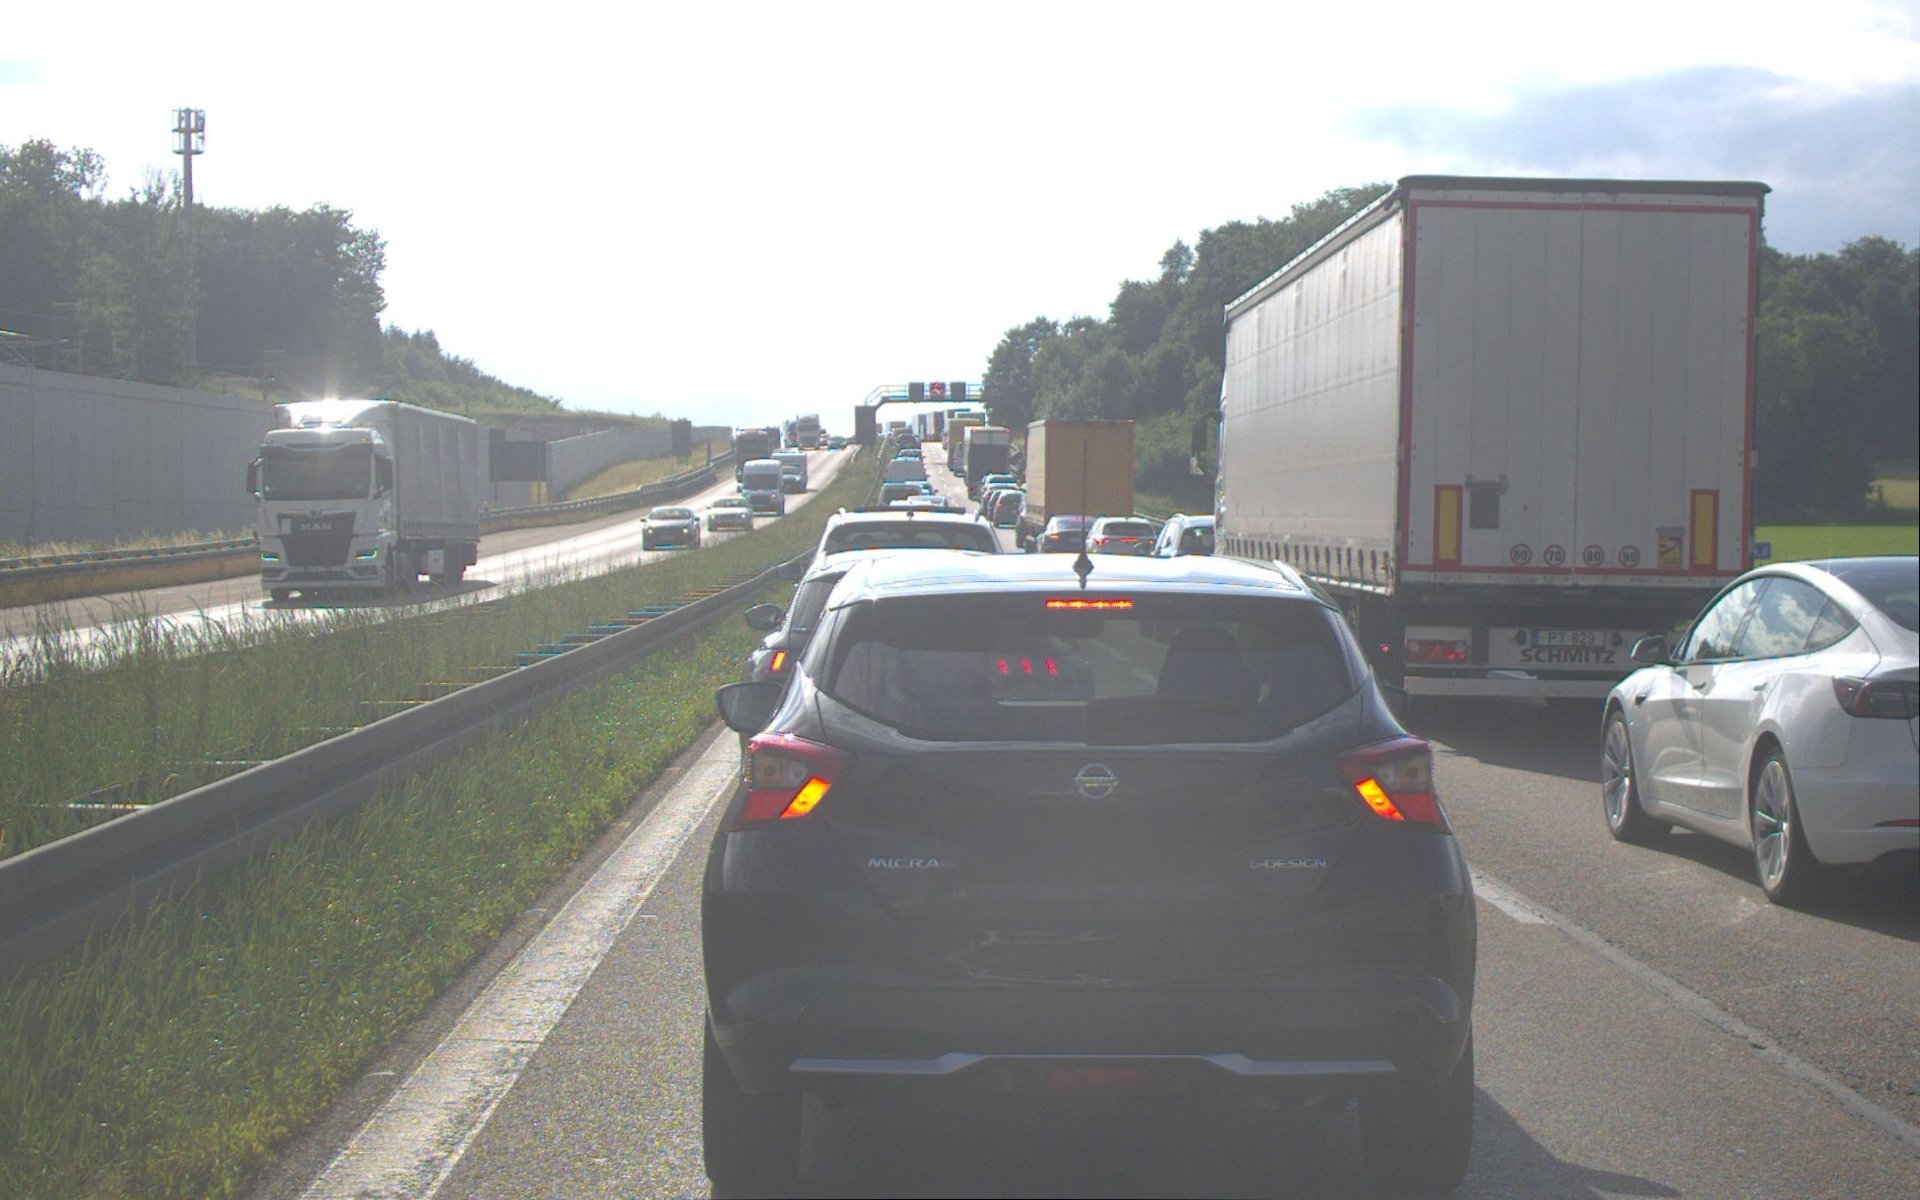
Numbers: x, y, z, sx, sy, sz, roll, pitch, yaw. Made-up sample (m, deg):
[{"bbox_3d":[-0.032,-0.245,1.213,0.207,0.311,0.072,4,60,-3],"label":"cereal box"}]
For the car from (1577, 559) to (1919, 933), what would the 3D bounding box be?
[{"bbox_3d":[4.120,0.535,15.411,1.788,1.389,4.437,0,1,-2],"label":"car"}]

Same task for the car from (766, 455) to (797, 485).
[{"bbox_3d":[-11.404,-8.333,219.791,1.910,1.665,4.364,0,5,-1],"label":"car"}]

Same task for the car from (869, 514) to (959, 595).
[{"bbox_3d":[-0.971,-0.992,73.026,1.873,1.638,4.233,0,2,-1],"label":"car"}]

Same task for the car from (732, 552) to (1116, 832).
[{"bbox_3d":[-0.197,0.418,18.886,1.873,1.353,4.232,0,1,-1],"label":"car"}]

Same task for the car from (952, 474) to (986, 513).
[{"bbox_3d":[0.519,-6.334,203.887,1.873,2.151,5.212,0,4,-1],"label":"car"}]

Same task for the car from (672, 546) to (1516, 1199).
[{"bbox_3d":[0.261,0.577,9.342,1.773,1.446,4.232,0,1,-1],"label":"car"}]

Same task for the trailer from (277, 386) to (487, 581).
[{"bbox_3d":[-13.168,-2.580,79.562,2.790,4.063,13.521,-2,1,-1],"label":"trailer"}]

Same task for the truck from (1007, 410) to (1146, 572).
[{"bbox_3d":[3.403,-3.173,104.204,3.296,4.562,12.442,1,0,-2],"label":"truck"}]

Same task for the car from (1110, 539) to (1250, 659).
[{"bbox_3d":[3.025,-0.047,48.047,1.697,1.605,4.437,0,1,0],"label":"car"}]

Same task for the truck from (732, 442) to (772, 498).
[{"bbox_3d":[-15.100,-9.435,250.073,2.582,3.909,5.723,-1,1,-1],"label":"truck"}]

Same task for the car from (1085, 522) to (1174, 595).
[{"bbox_3d":[3.987,-1.003,81.482,1.873,1.638,4.233,0,2,-1],"label":"car"}]

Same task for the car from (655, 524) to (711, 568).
[{"bbox_3d":[-9.393,-1.831,116.710,1.651,1.446,3.956,0,1,-1],"label":"car"}]

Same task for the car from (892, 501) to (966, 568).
[{"bbox_3d":[-0.813,-1.742,89.956,1.873,1.638,4.233,0,3,-1],"label":"car"}]

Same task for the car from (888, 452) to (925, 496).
[{"bbox_3d":[-2.750,-6.499,176.855,1.873,2.151,5.212,0,4,-1],"label":"car"}]

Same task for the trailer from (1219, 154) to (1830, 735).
[{"bbox_3d":[4.429,-1.093,30.576,3.130,3.997,13.367,1,0,0],"label":"trailer"}]

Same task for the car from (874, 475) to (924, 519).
[{"bbox_3d":[-2.376,-4.008,132.907,1.873,1.638,4.233,0,3,-2],"label":"car"}]

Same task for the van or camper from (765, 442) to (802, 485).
[{"bbox_3d":[-11.553,-8.937,225.579,2.252,2.694,7.171,0,1,-1],"label":"van or camper"}]

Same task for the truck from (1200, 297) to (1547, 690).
[{"bbox_3d":[4.434,-1.108,37.941,3.133,4.002,5.164,1,0,0],"label":"truck"}]

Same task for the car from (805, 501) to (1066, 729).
[{"bbox_3d":[-0.196,0.074,26.816,1.873,1.638,4.232,0,1,-1],"label":"car"}]

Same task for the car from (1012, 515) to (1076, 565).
[{"bbox_3d":[2.799,-2.026,115.124,1.873,1.638,4.233,0,2,-3],"label":"car"}]

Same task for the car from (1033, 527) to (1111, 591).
[{"bbox_3d":[2.942,-1.105,90.764,1.873,1.638,4.232,0,2,-1],"label":"car"}]

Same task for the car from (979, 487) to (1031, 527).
[{"bbox_3d":[1.910,-3.964,146.564,1.873,1.638,4.233,0,3,-4],"label":"car"}]

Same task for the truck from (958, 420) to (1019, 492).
[{"bbox_3d":[1.824,-9.582,229.216,3.464,4.561,12.443,1,2,-2],"label":"truck"}]

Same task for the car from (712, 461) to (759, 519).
[{"bbox_3d":[-11.219,-5.491,172.434,2.104,2.860,5.637,0,1,-1],"label":"car"}]

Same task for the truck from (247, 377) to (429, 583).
[{"bbox_3d":[-12.998,-2.472,72.247,2.776,4.074,5.532,-2,1,-1],"label":"truck"}]

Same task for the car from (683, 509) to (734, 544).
[{"bbox_3d":[-10.545,-3.068,144.459,1.873,1.446,4.232,0,1,-1],"label":"car"}]
